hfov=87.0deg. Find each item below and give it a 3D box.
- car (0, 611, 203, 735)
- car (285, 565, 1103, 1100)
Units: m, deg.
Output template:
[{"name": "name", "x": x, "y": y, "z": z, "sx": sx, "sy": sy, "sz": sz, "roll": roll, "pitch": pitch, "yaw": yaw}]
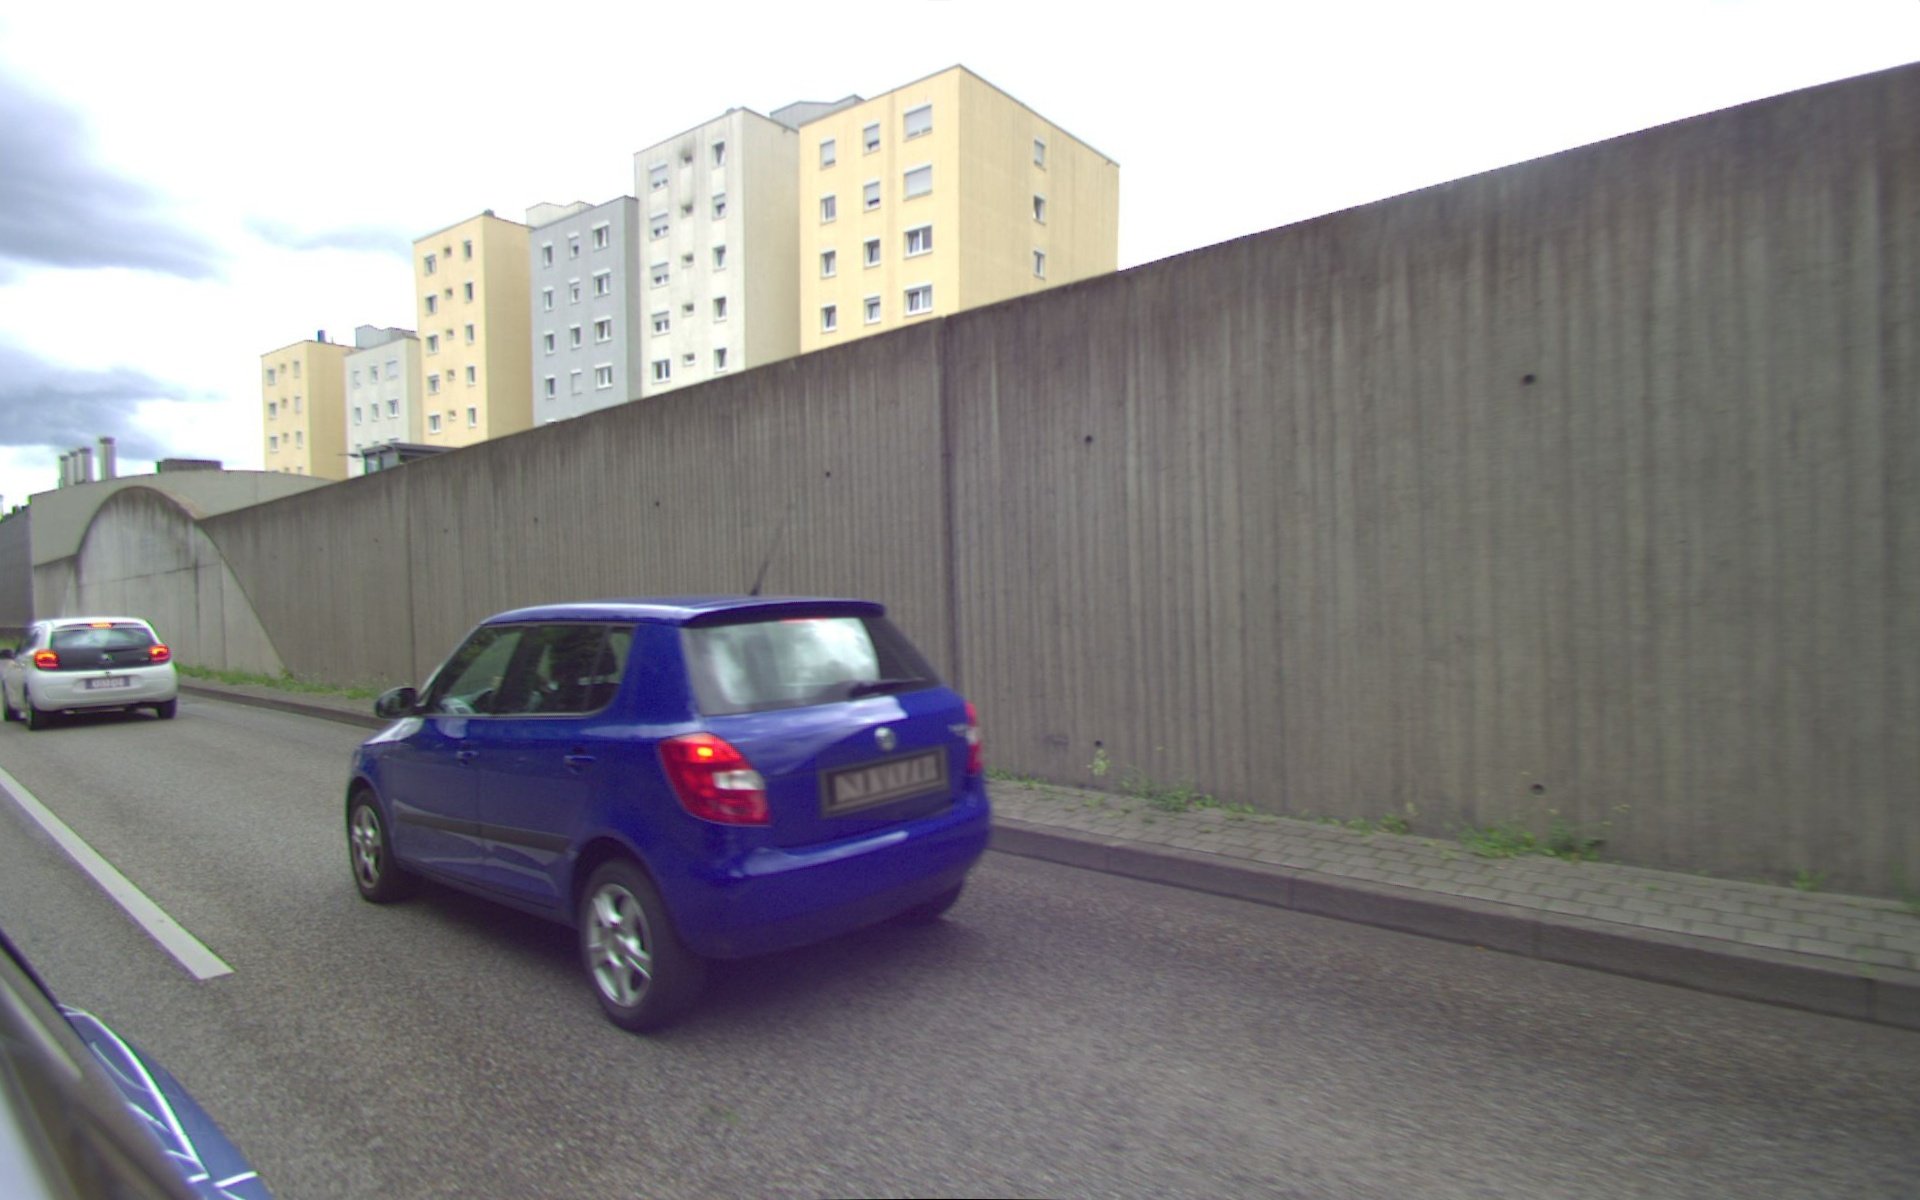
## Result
[{"name": "car", "x": -12.816, "y": 0.967, "z": 14.911, "sx": 4.207, "sy": 1.507, "sz": 1.895, "roll": -1, "pitch": 0, "yaw": 42}, {"name": "car", "x": -1.576, "y": 0.675, "z": 4.900, "sx": 4.206, "sy": 1.507, "sz": 1.749, "roll": -1, "pitch": 0, "yaw": 41}]
